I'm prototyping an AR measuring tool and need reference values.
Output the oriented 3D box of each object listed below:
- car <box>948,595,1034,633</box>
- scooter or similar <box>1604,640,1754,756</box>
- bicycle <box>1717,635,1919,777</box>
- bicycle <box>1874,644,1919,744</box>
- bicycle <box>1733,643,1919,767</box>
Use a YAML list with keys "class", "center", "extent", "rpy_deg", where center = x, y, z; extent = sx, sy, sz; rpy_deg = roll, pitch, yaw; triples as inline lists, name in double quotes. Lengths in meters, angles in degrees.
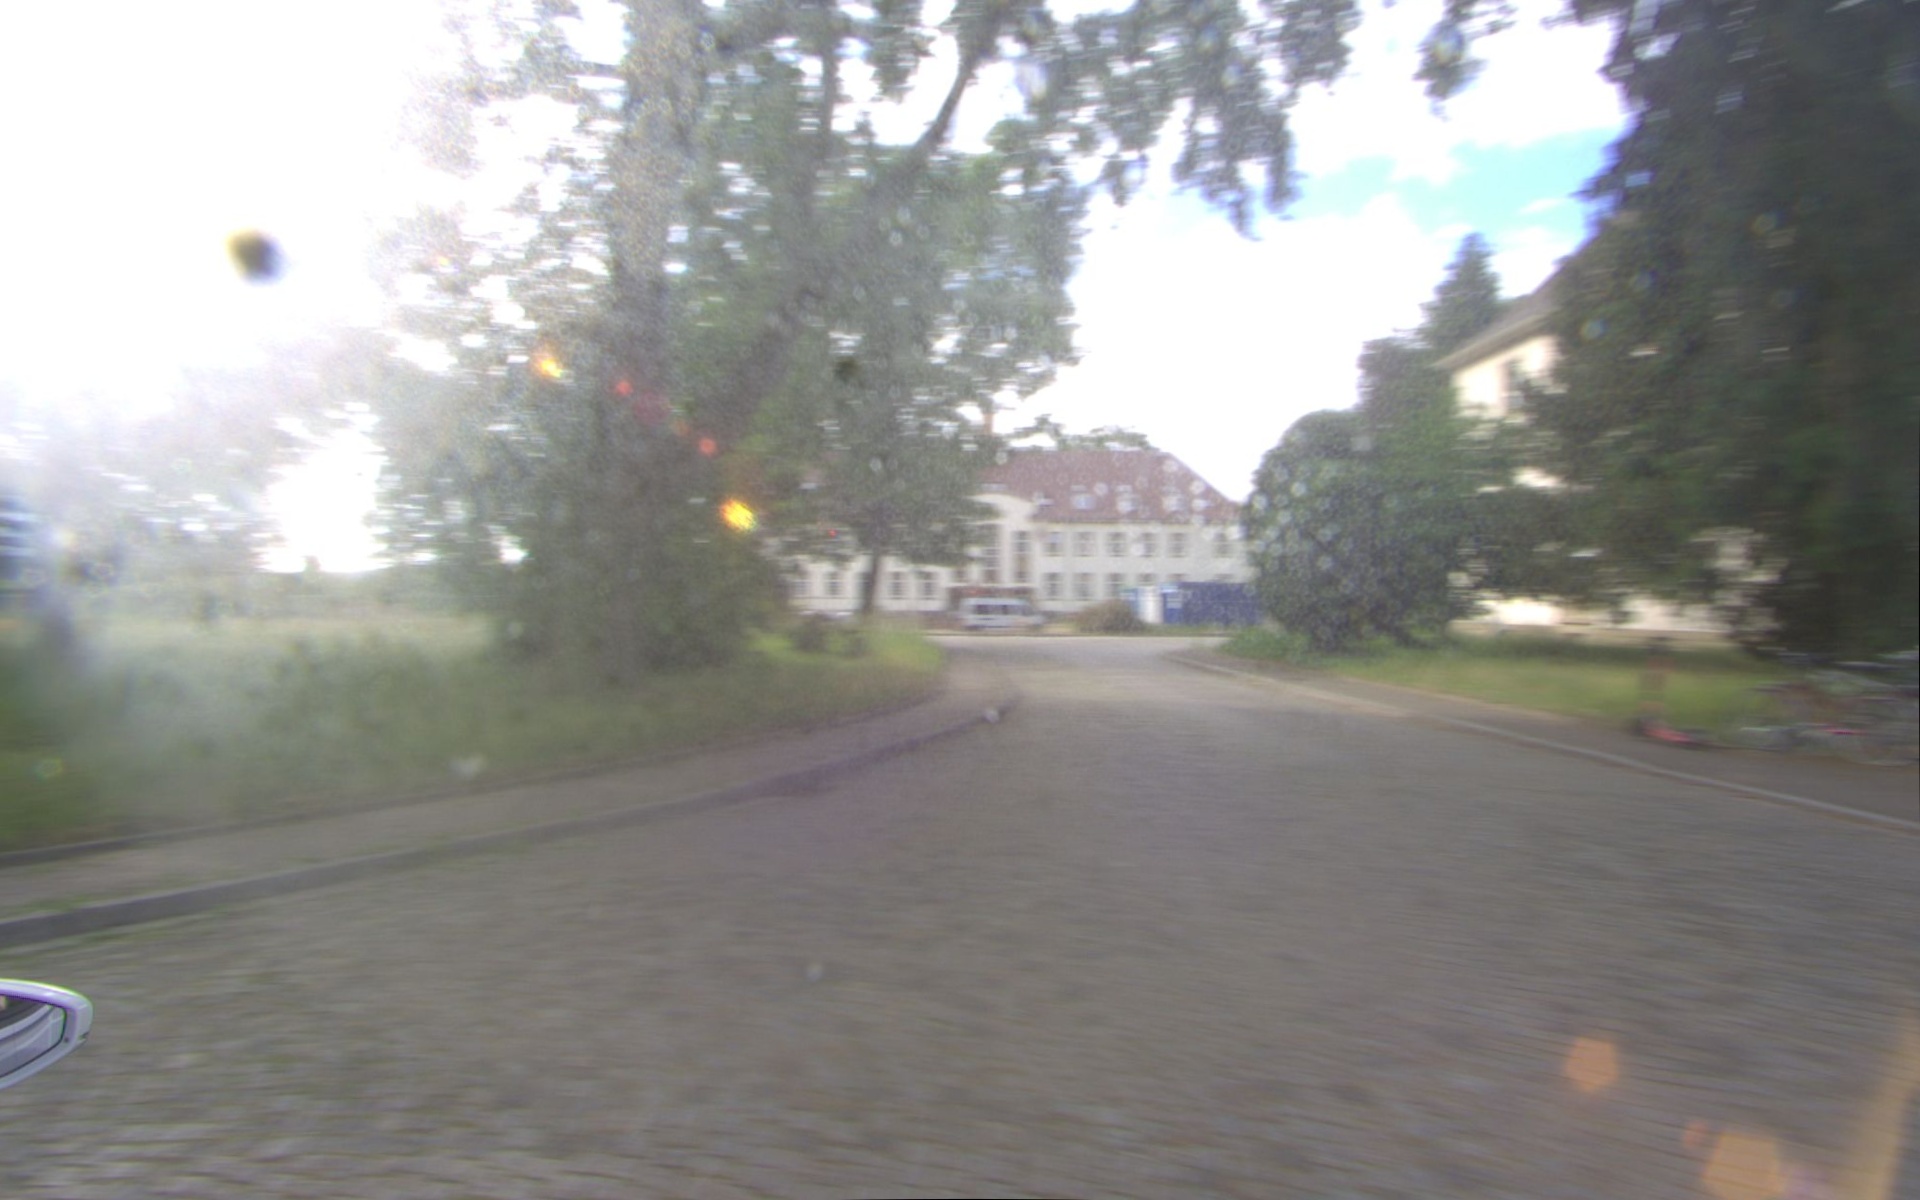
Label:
- class: "car"
  center: [1.989, 0.875, 64.849]
  extent: [5.424, 2.238, 2.124]
  rpy_deg: [1, 3, 0]
- class: "scooter or similar"
  center: [8.246, 1.089, 11.561]
  extent: [0.669, 1.210, 1.553]
  rpy_deg: [0, 0, 3]
- class: "bicycle"
  center: [9.054, 1.035, 10.388]
  extent: [0.632, 1.239, 1.896]
  rpy_deg: [-2, 1, -19]
- class: "bicycle"
  center: [11.232, 1.071, 11.052]
  extent: [0.532, 1.088, 1.621]
  rpy_deg: [-2, 1, -30]
- class: "bicycle"
  center: [9.600, 1.086, 10.799]
  extent: [0.632, 1.129, 1.986]
  rpy_deg: [-2, 1, -19]
